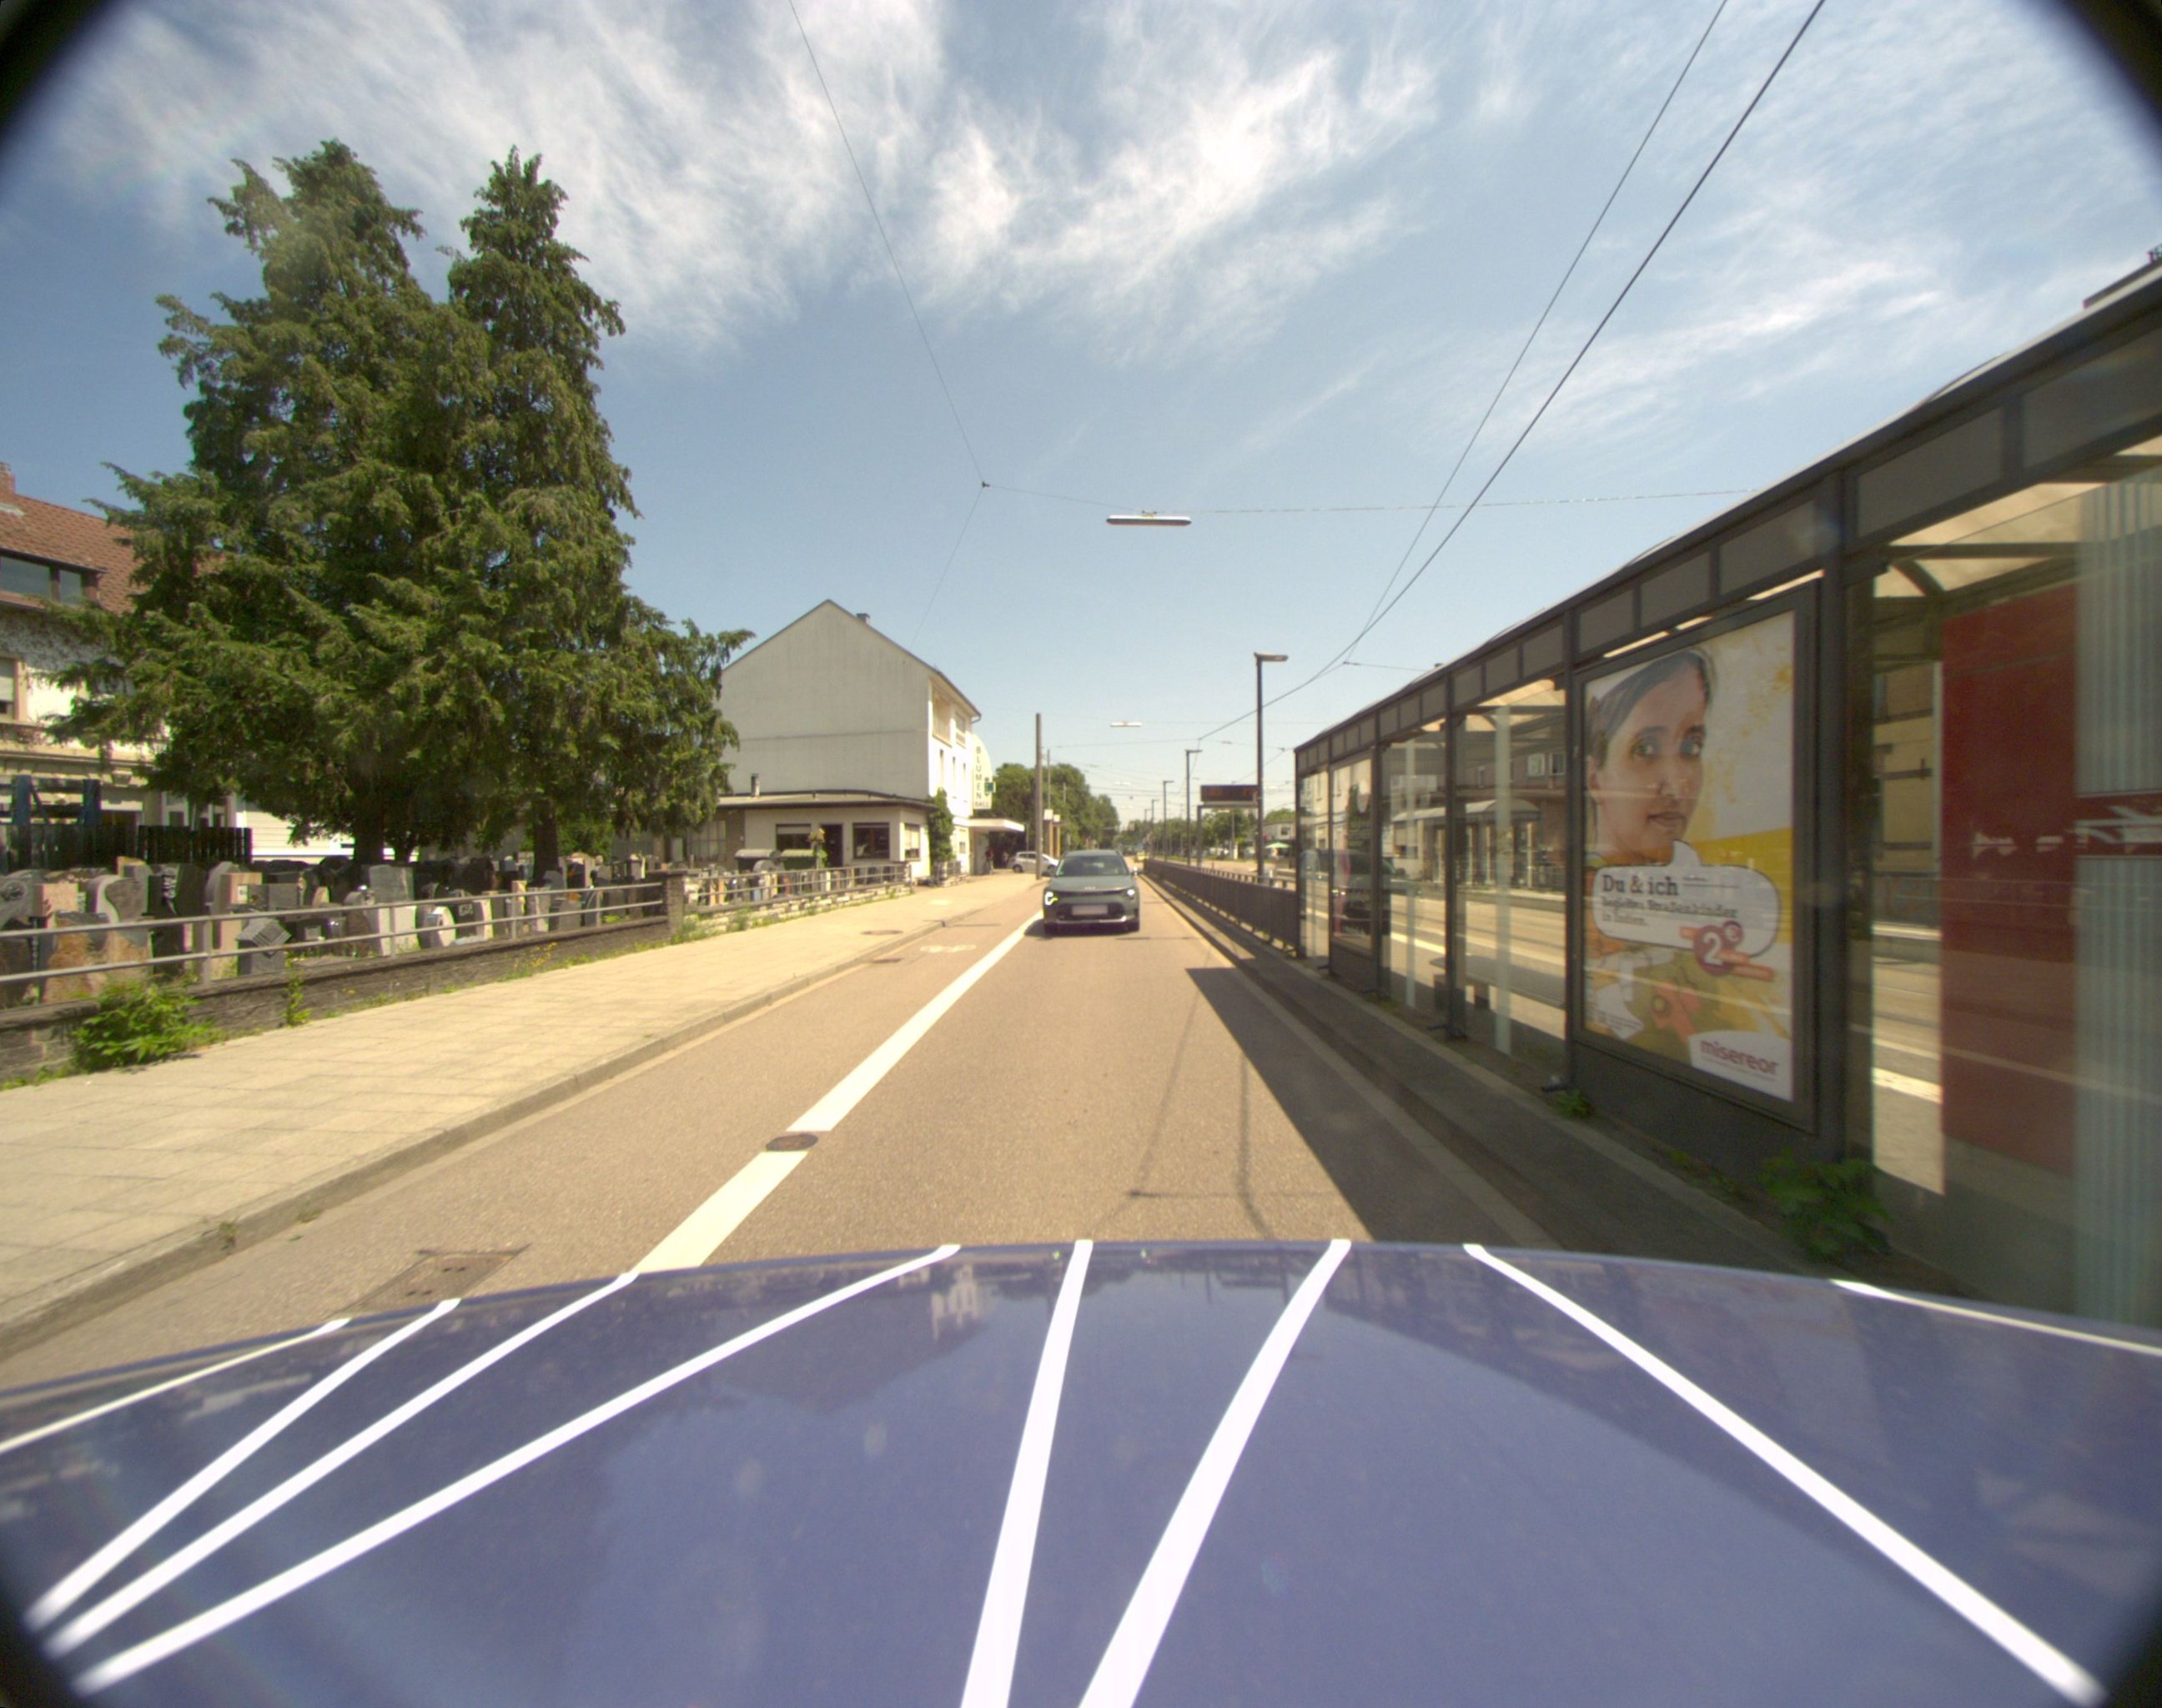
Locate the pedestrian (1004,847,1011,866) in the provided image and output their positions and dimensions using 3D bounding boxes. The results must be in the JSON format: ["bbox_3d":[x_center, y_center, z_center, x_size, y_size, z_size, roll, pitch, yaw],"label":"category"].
[{"bbox_3d":[-6.182,0.238,63.817,0.536,1.589,0.425,-2,1,-10],"label":"pedestrian"}]

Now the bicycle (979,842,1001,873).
[{"bbox_3d":[-5.727,0.200,48.080,0.799,1.889,1.960,2,1,10],"label":"bicycle"}]

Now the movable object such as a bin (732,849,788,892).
[{"bbox_3d":[-11.186,0.554,26.510,1.390,1.473,1.152,-1,1,6],"label":"movable object such as a bin"}]

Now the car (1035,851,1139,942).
[{"bbox_3d":[0.198,0.753,15.757,1.827,1.547,4.487,-1,1,2],"label":"car"}]

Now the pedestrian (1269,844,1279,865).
[{"bbox_3d":[14.907,0.018,58.606,0.597,1.615,0.676,1,1,3],"label":"pedestrian"}]

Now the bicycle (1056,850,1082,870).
[{"bbox_3d":[-1.049,0.505,66.384,2.053,1.580,0.889,3,1,-29],"label":"bicycle"}]

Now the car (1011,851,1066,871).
[{"bbox_3d":[-3.191,0.531,57.394,3.995,1.509,1.698,0,1,4],"label":"car"}]

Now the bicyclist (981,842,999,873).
[{"bbox_3d":[-5.744,0.217,48.021,0.790,1.864,0.888,2,1,10],"label":"bicyclist"}]

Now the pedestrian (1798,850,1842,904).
[{"bbox_3d":[21.929,0.667,22.560,0.604,1.586,0.715,-1,1,0],"label":"pedestrian"}]

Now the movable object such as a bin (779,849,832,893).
[{"bbox_3d":[-9.561,0.577,26.423,1.390,1.473,1.151,-1,1,3],"label":"movable object such as a bin"}]

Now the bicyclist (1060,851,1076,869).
[{"bbox_3d":[-1.108,0.521,66.353,0.987,1.569,0.866,3,1,-29],"label":"bicyclist"}]

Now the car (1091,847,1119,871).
[{"bbox_3d":[1.648,0.308,52.692,1.748,1.546,4.487,-3,1,1],"label":"car"}]
